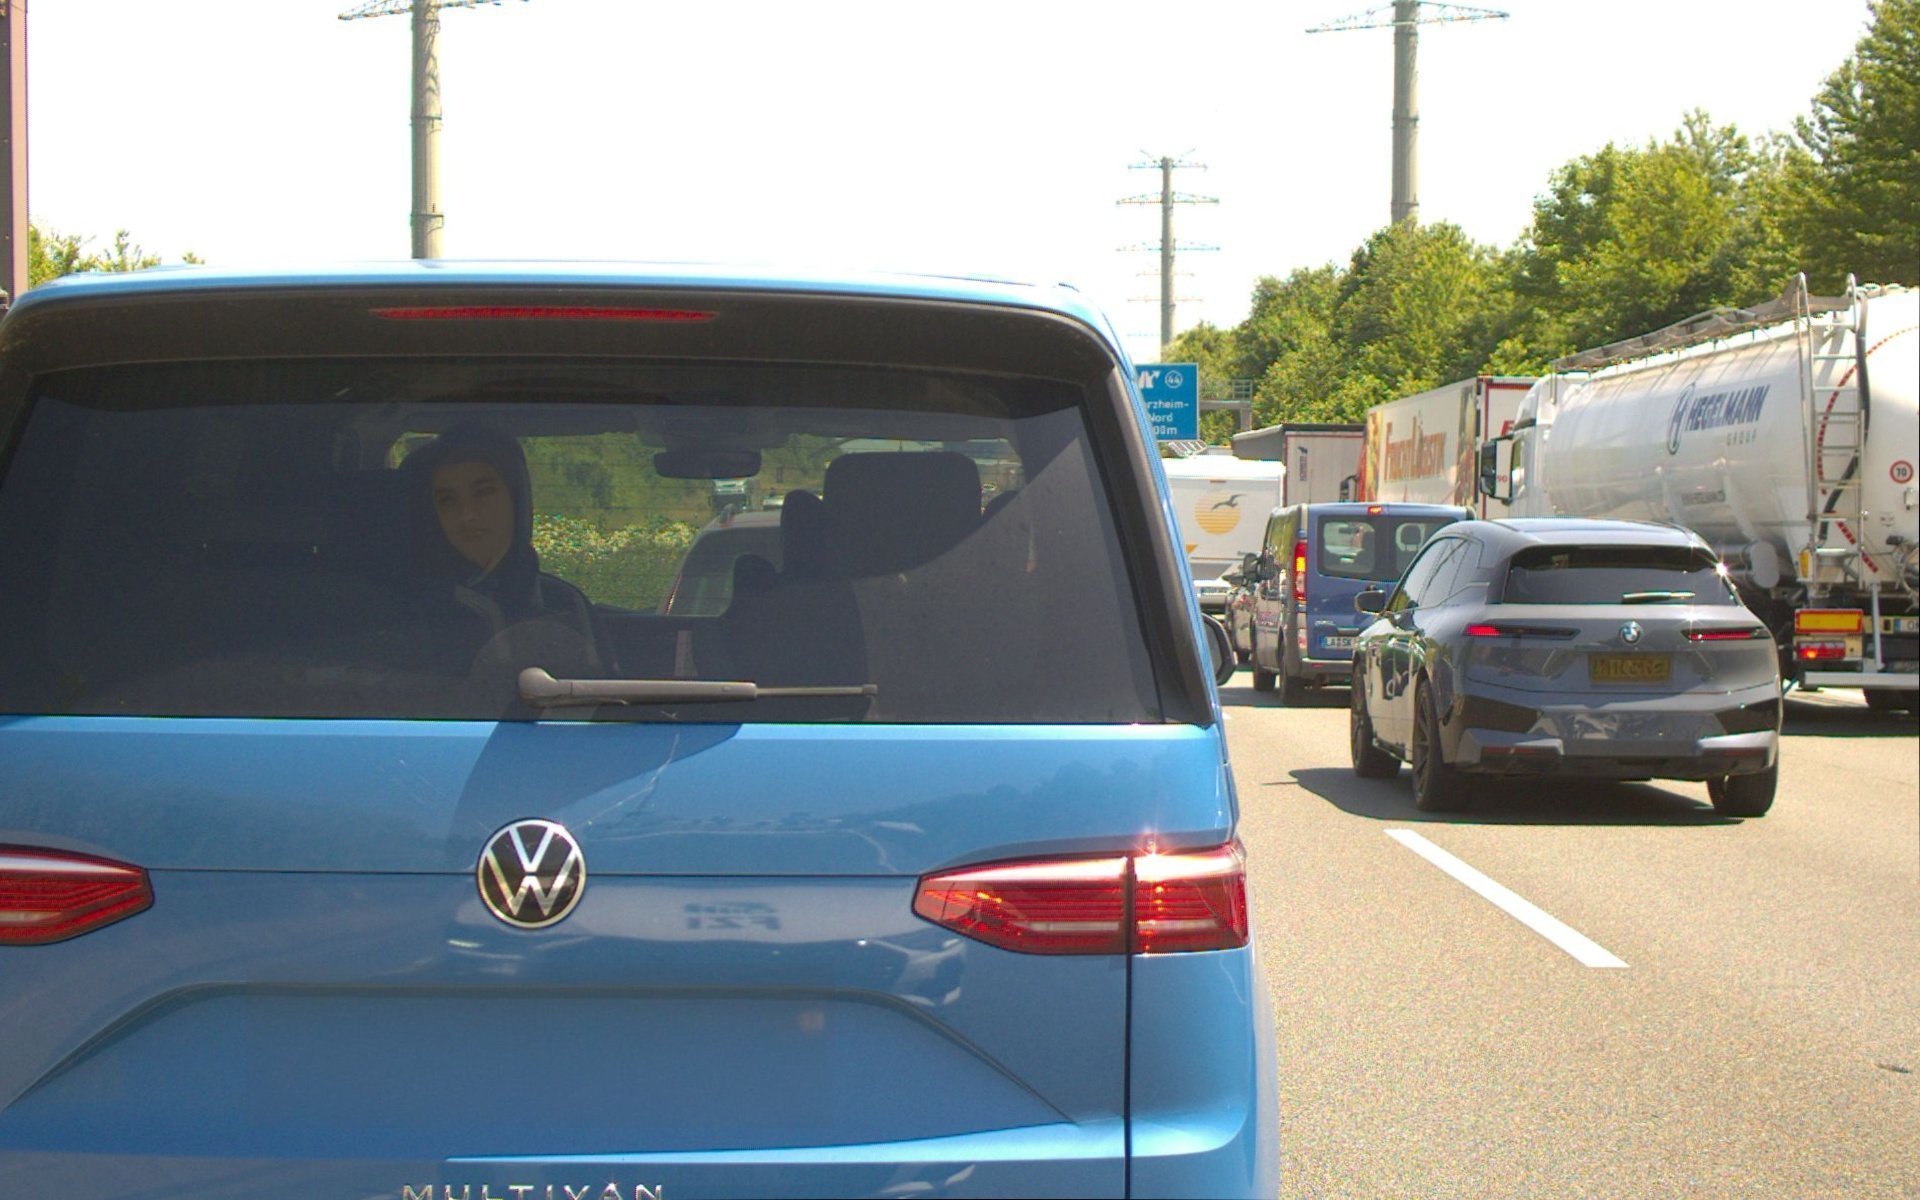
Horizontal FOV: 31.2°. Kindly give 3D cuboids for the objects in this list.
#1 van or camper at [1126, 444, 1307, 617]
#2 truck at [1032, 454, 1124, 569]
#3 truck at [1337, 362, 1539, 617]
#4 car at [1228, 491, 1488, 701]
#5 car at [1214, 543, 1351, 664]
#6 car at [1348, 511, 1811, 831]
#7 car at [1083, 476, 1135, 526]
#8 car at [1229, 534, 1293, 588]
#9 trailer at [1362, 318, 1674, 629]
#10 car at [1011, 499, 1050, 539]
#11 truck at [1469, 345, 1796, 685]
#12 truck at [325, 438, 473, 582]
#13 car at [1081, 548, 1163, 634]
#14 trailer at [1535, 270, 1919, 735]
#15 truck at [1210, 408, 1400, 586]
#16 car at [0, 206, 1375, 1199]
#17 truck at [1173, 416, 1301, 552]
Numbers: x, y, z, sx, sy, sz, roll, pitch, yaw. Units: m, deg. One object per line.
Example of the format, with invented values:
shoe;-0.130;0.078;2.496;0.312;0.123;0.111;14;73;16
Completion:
van or camper;4.634;-1.241;63.450;2.957;3.011;7.102;0;1;1
truck;3.968;-2.959;117.790;2.895;3.753;10.140;0;1;1
truck;8.666;-1.980;62.888;2.912;4.453;5.143;0;1;-1
car;3.890;-0.042;34.298;1.923;1.919;4.236;-1;0;-2
car;4.011;0.037;43.152;1.360;1.415;3.884;-1;0;1
car;3.596;0.375;20.829;1.999;1.709;4.625;0;0;1
car;6.187;-4.110;143.169;1.993;2.007;4.000;0;1;0
car;11.196;-1.454;128.257;1.993;2.007;4.000;0;1;-1
trailer;8.742;-1.907;55.525;2.912;4.453;12.155;0;1;-1
car;3.769;-4.325;184.160;1.993;2.118;4.000;0;1;-1
truck;8.006;-1.000;41.617;2.793;3.823;5.572;0;1;-1
truck;-14.805;-2.353;91.113;3.071;3.697;5.463;0;1;-1
car;3.882;-0.216;82.761;1.836;1.991;4.000;-1;0;1
trailer;8.121;-0.890;34.130;2.761;3.831;11.487;0;1;-1
truck;7.848;-2.247;80.388;3.006;3.753;15.713;0;1;1
car;-0.516;0.470;5.877;1.920;1.880;4.000;1;1;0
truck;8.200;-3.356;103.363;2.895;3.753;13.345;0;1;1
